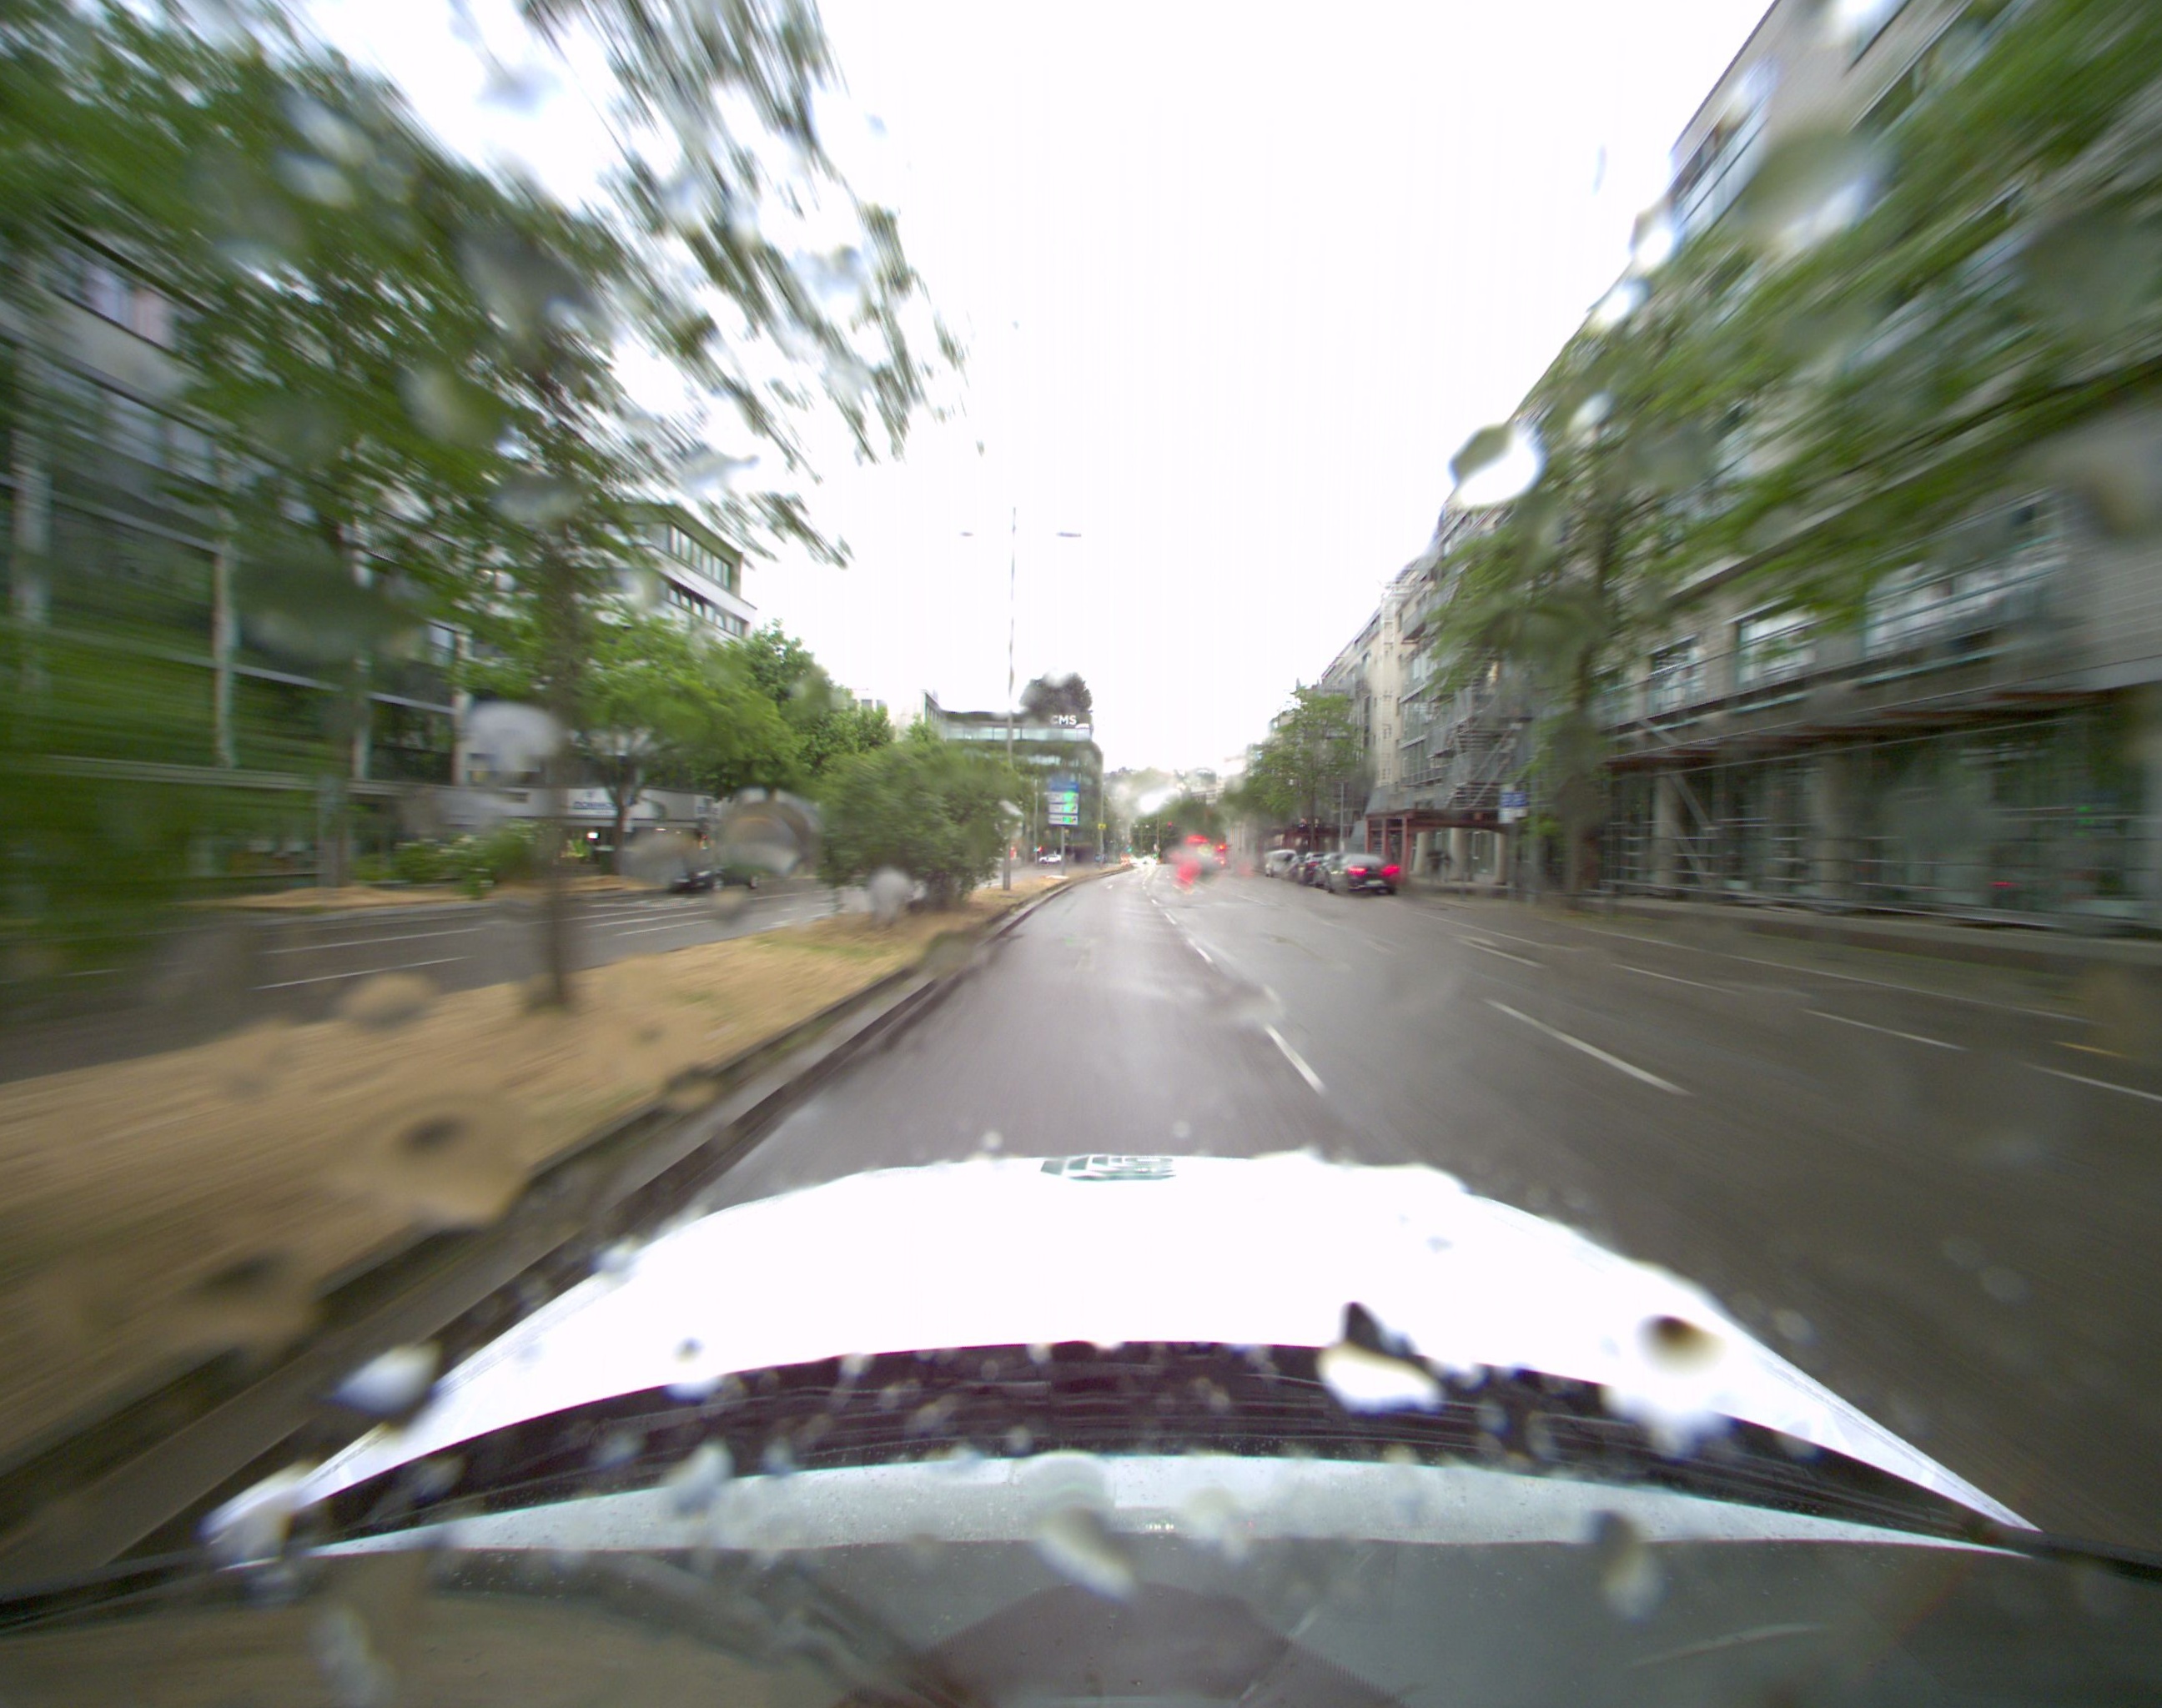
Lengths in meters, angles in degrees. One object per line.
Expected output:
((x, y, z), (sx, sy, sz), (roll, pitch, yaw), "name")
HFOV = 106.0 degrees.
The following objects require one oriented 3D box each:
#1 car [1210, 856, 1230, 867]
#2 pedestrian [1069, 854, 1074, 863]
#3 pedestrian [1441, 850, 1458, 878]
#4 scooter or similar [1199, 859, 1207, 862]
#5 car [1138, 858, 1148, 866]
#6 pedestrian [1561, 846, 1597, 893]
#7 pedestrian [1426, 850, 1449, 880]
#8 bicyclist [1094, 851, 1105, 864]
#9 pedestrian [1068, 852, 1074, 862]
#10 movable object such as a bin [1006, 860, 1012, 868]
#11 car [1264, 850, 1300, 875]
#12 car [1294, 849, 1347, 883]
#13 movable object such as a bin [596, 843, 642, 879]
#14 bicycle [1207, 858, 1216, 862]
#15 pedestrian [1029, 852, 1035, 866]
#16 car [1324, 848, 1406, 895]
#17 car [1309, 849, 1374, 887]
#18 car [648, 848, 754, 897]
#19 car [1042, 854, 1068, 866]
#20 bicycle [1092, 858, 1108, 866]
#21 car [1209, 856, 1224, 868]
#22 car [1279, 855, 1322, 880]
((18.595, 0.982, 108.883), (1.689, 1.529, 4.449), (0, 0, 21), "car")
((-1.793, 0.810, 151.172), (0.743, 1.758, 0.970), (0, 0, -18), "pedestrian")
((20.682, 0.559, 45.714), (0.676, 1.519, 0.769), (0, 0, 8), "pedestrian")
((27.520, 1.479, 184.243), (1.748, 0.878, 0.487), (0, -1, -13), "scooter or similar")
((12.212, 1.576, 160.660), (1.984, 1.550, 4.562), (0, 0, 5), "car")
((17.278, 0.538, 28.265), (0.700, 1.596, 0.924), (0, 0, 4), "pedestrian")
((19.255, 0.580, 44.003), (0.815, 1.596, 1.114), (0, 0, 1), "pedestrian")
((2.627, 0.465, 113.448), (1.306, 1.704, 0.838), (0, -1, -43), "bicyclist")
((-1.848, 0.540, 151.477), (0.937, 1.758, 1.165), (0, 0, -18), "pedestrian")
((-7.661, 1.080, 86.560), (0.530, 0.898, 0.681), (-1, 0, -4), "movable object such as a bin")
((14.770, 0.619, 60.175), (1.983, 1.750, 4.534), (0, 0, 6), "car")
((12.196, 0.590, 41.758), (1.982, 1.646, 4.873), (0, 0, 8), "car")
((-19.677, 0.297, 34.717), (1.272, 1.488, 1.090), (0, 0, 5), "movable object such as a bin")
((28.317, 1.340, 176.905), (1.784, 0.934, 0.476), (0, 0, 8), "bicycle")
((-7.070, 0.730, 117.474), (0.803, 1.885, 0.866), (-4, 0, -1), "pedestrian")
((10.329, 0.584, 30.013), (1.982, 1.601, 5.303), (0, 0, 9), "car")
((11.555, 0.594, 36.410), (1.852, 1.601, 4.600), (0, 0, 6), "car")
((-13.661, 0.621, 29.544), (1.771, 1.636, 4.027), (0, 0, 3), "car")
((-4.412, 1.046, 137.632), (3.956, 1.884, 2.009), (0, 0, 16), "car")
((2.644, 1.150, 113.442), (2.164, 1.103, 0.838), (0, 0, -43), "bicycle")
((16.885, 1.003, 101.759), (1.768, 1.540, 4.156), (0, 0, 8), "car")
((13.019, 0.758, 48.516), (1.858, 1.437, 4.932), (0, 0, 8), "car")
